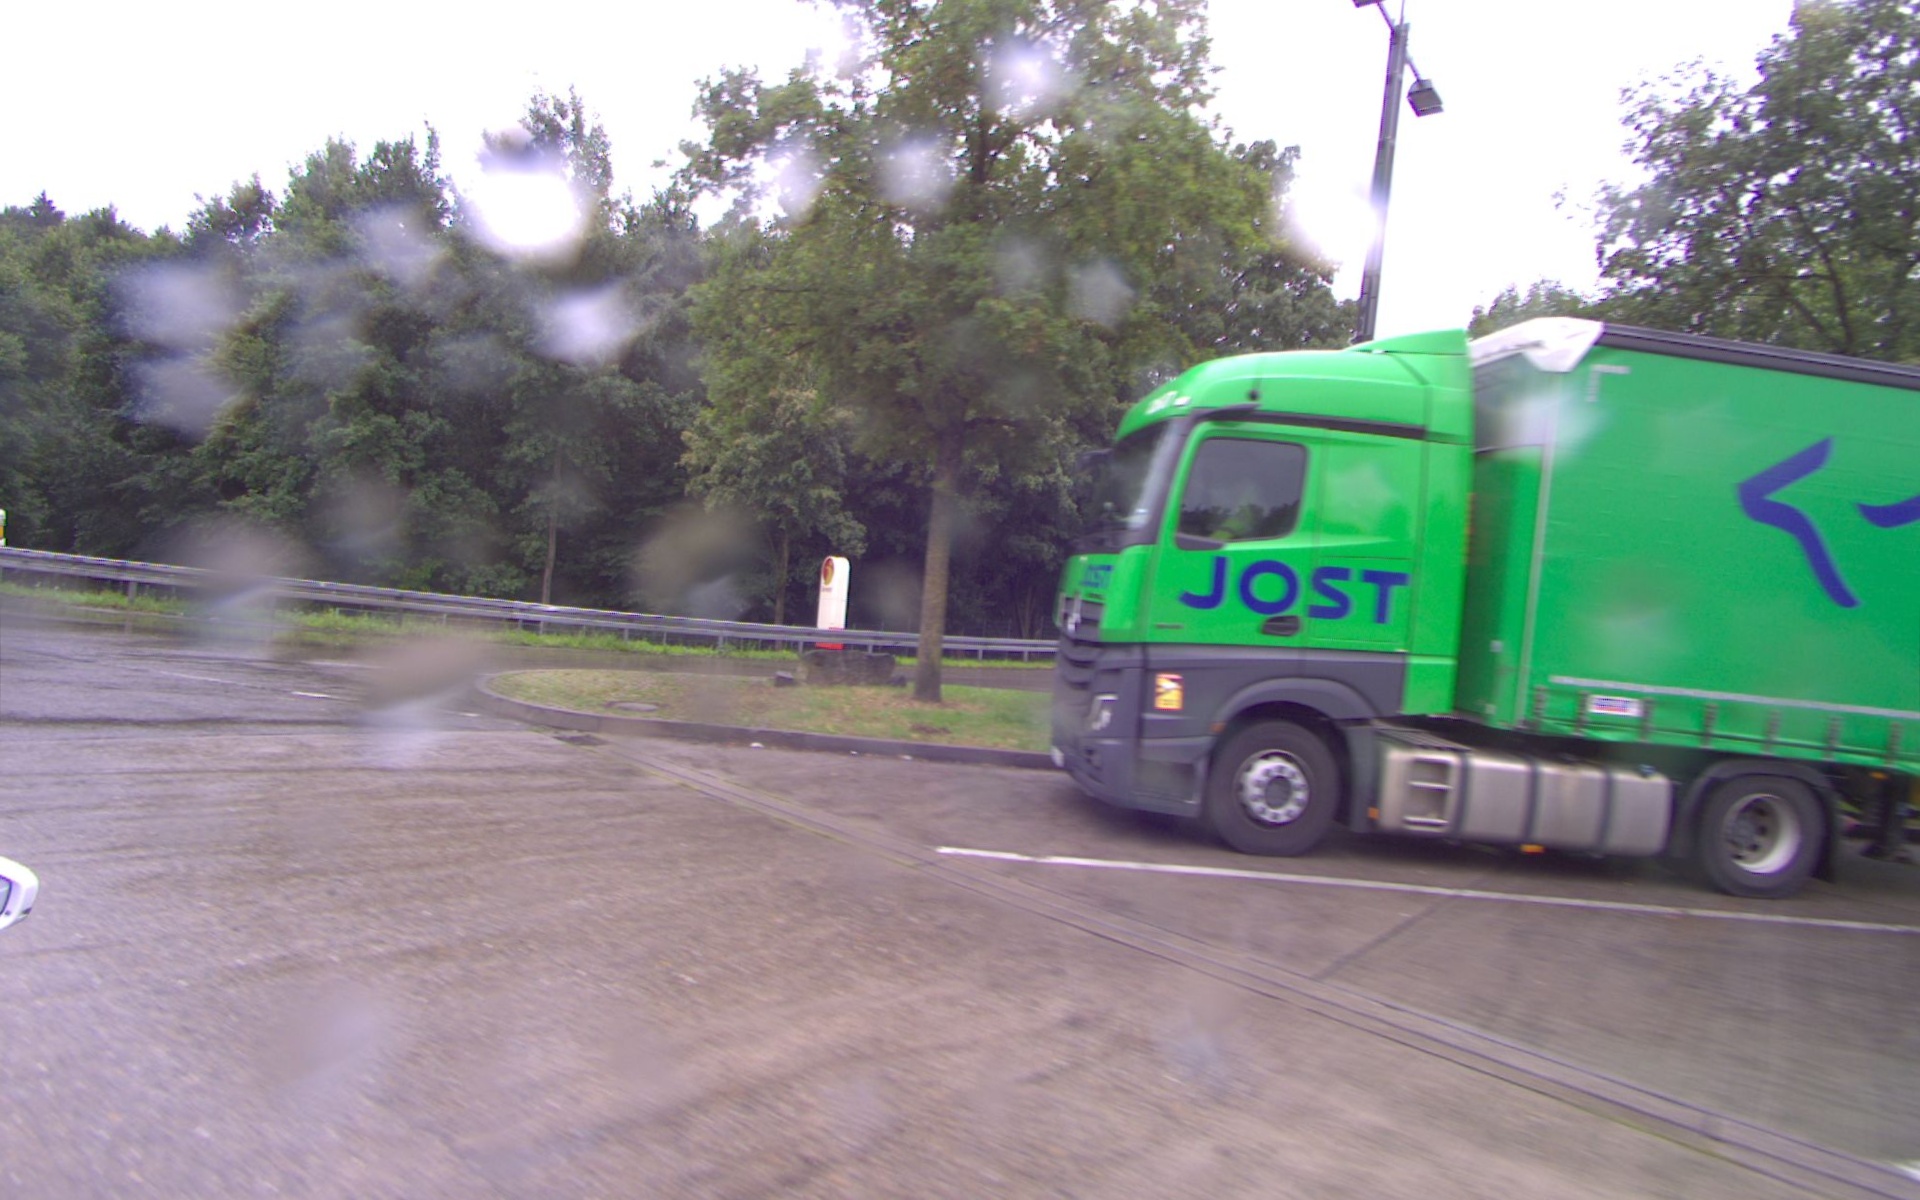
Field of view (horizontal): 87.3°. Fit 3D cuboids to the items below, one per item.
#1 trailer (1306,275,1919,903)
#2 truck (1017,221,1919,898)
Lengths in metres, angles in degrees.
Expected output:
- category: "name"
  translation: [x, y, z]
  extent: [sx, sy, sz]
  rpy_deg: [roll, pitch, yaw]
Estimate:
- category: "trailer"
  translation: [10.535, 0.480, 9.188]
  extent: [13.718, 4.203, 2.823]
  rpy_deg: [6, 1, -6]
- category: "truck"
  translation: [3.784, -0.184, 8.533]
  extent: [5.891, 4.203, 2.823]
  rpy_deg: [6, 1, -6]
